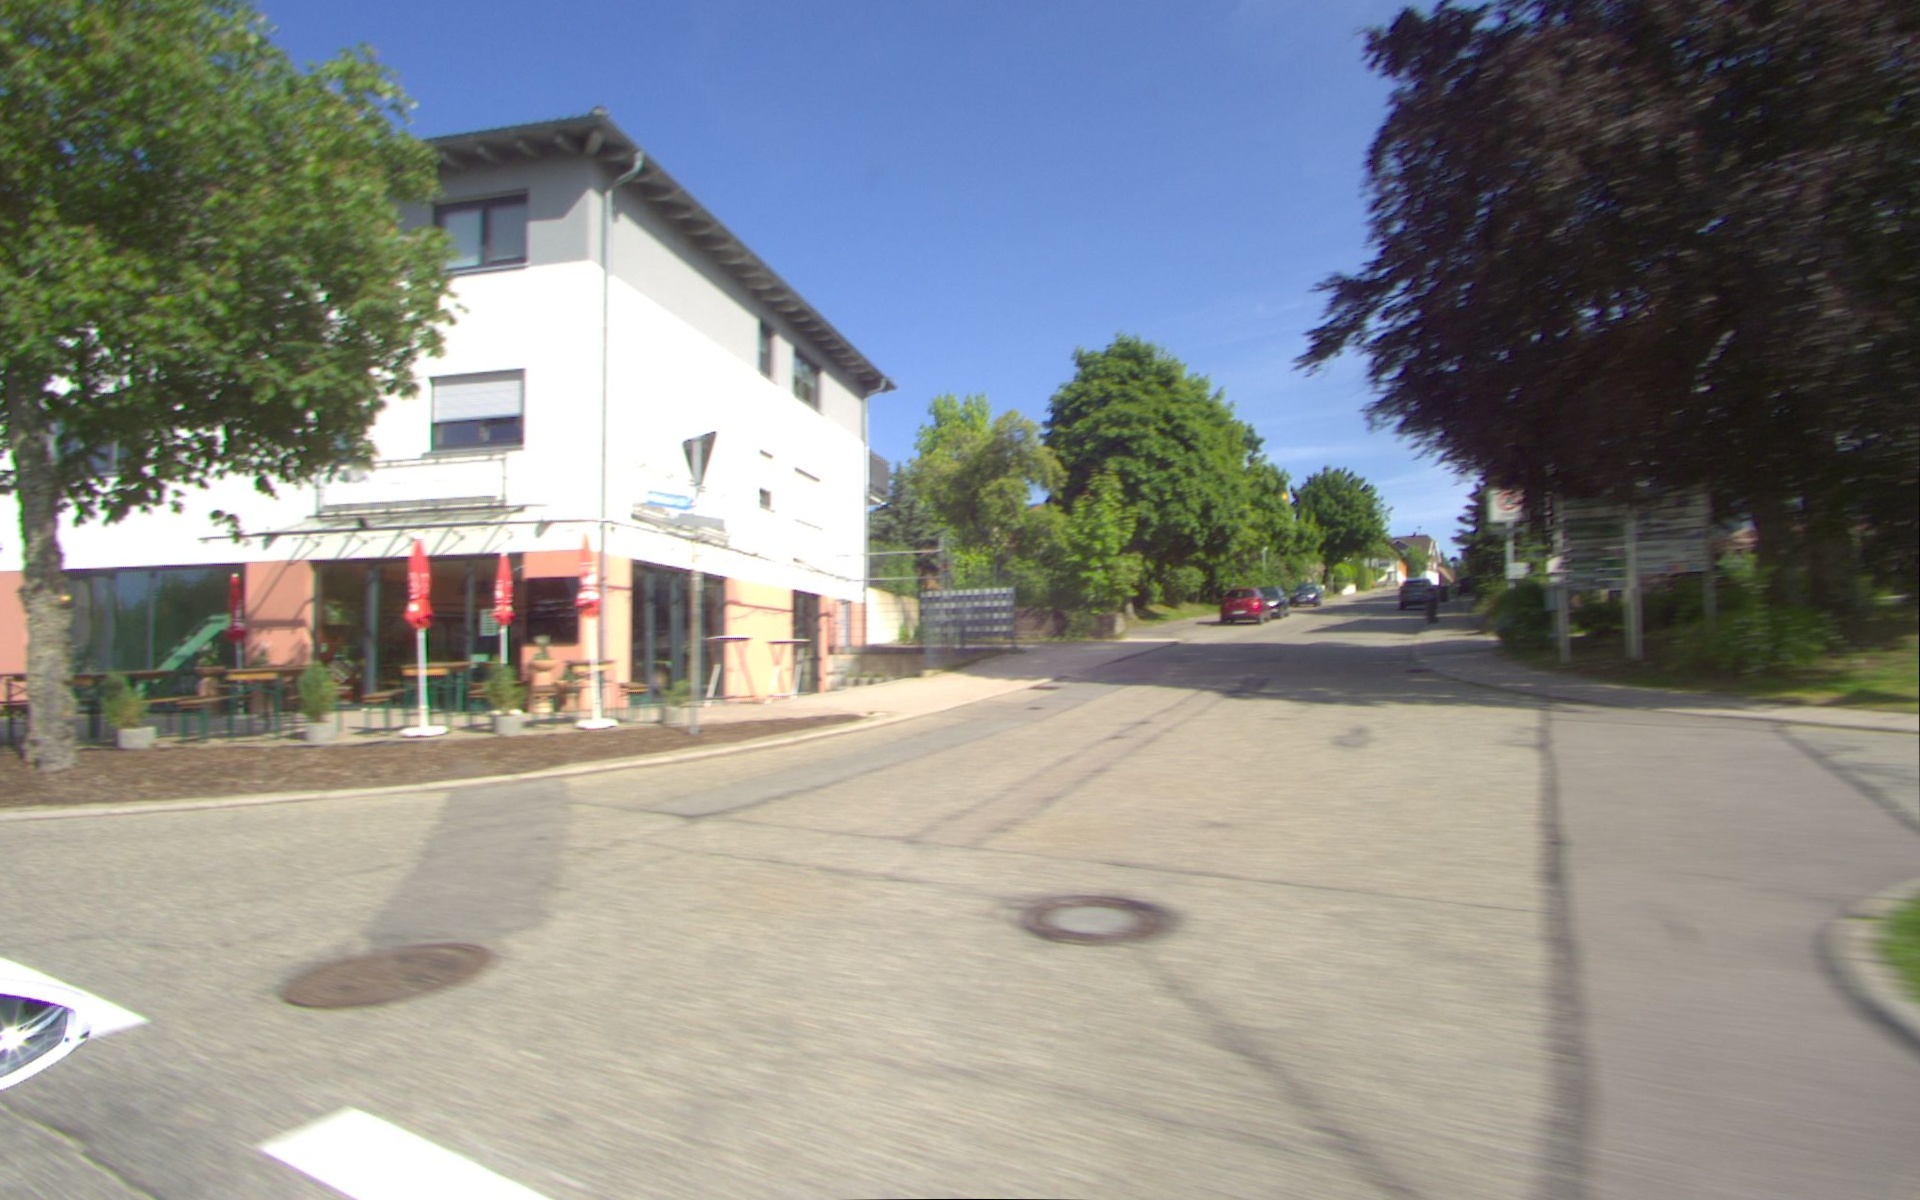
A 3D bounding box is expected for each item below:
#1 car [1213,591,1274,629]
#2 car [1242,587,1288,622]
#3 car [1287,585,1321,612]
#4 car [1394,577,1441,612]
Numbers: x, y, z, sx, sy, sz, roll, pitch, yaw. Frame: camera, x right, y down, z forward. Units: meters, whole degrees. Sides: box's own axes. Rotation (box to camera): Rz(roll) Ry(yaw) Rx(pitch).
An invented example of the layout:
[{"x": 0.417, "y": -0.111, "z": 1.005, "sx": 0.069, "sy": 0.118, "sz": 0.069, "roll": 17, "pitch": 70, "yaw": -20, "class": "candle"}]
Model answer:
[{"x": 11.743, "y": 0.392, "z": 41.357, "sx": 1.714, "sy": 1.483, "sz": 3.256, "roll": -1, "pitch": 0, "yaw": 29, "class": "car"}, {"x": 14.064, "y": 0.223, "z": 46.139, "sx": 1.565, "sy": 1.522, "sz": 3.291, "roll": 0, "pitch": -1, "yaw": 25, "class": "car"}, {"x": 21.863, "y": -0.071, "z": 63.550, "sx": 1.695, "sy": 1.640, "sz": 3.919, "roll": -1, "pitch": 0, "yaw": 24, "class": "car"}, {"x": 24.493, "y": -0.291, "z": 53.548, "sx": 1.970, "sy": 1.762, "sz": 3.981, "roll": -1, "pitch": 0, "yaw": 29, "class": "car"}]
